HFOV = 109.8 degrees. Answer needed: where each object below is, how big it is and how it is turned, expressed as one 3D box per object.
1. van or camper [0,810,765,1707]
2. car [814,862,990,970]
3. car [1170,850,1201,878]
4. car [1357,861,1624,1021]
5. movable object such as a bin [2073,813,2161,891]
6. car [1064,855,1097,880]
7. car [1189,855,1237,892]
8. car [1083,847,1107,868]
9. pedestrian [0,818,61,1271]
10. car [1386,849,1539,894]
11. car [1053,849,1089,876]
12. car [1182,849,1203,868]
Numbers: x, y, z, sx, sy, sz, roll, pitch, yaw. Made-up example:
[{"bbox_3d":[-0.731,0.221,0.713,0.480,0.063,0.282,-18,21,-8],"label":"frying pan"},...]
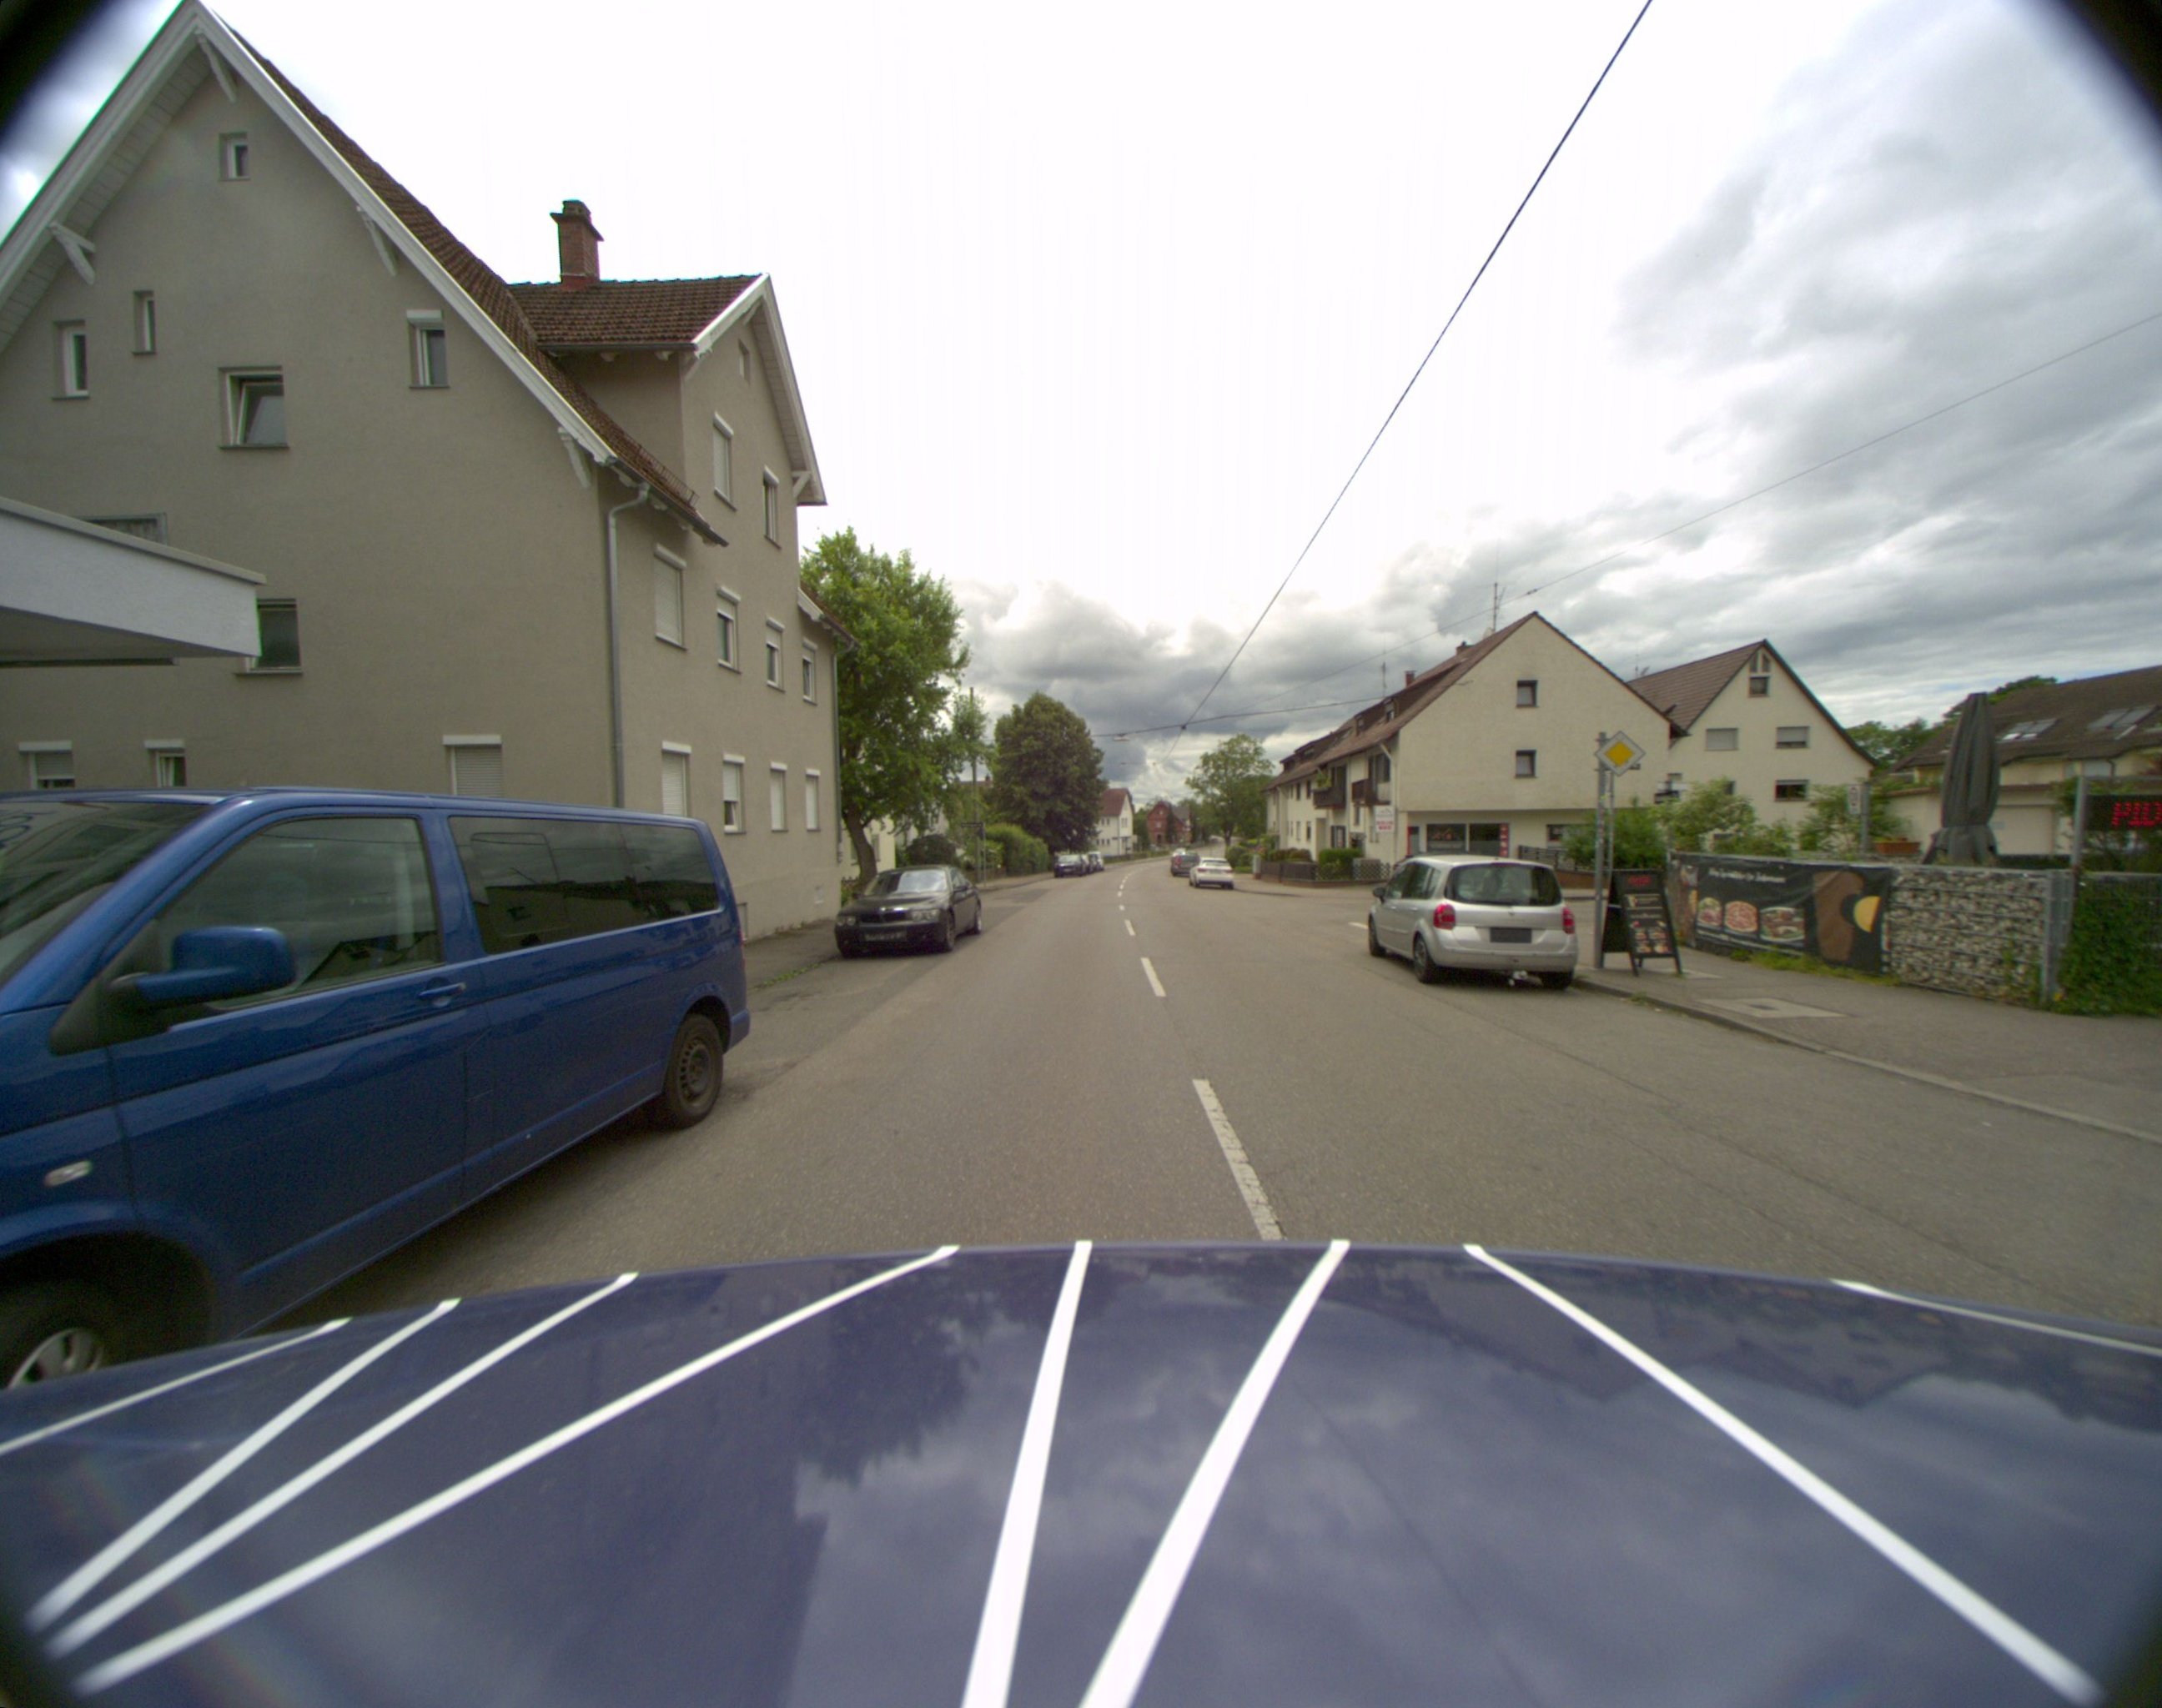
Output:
[{"bbox_3d":[-3.278,0.882,3.005,1.931,1.914,4.830,-2,0,1],"label":"van or camper"},{"bbox_3d":[-3.094,0.997,14.330,1.998,1.509,4.891,-2,1,1],"label":"car"},{"bbox_3d":[7.094,0.607,51.817,1.850,1.671,4.788,3,1,6],"label":"car"},{"bbox_3d":[5.167,0.959,10.274,1.837,1.569,4.033,2,1,8],"label":"car"},{"bbox_3d":[15.662,-0.035,11.302,0.571,1.103,0.977,-1,1,6],"label":"movable object such as a bin"},{"bbox_3d":[0.031,0.972,57.286,1.998,1.606,4.540,-2,1,6],"label":"car"},{"bbox_3d":[6.113,0.865,35.440,1.730,1.450,3.899,3,1,4],"label":"car"},{"bbox_3d":[1.298,0.331,69.529,1.842,1.763,4.318,-3,0,4],"label":"car"},{"bbox_3d":[-5.194,0.852,3.443,0.759,2.002,0.620,-1,1,36],"label":"pedestrian"},{"bbox_3d":[13.796,0.612,27.719,4.527,1.464,2.001,-2,0,6],"label":"car"},{"bbox_3d":[-0.611,0.562,51.086,1.814,1.606,4.540,-2,1,6],"label":"car"},{"bbox_3d":[11.189,0.435,76.075,1.852,1.704,4.578,1,1,11],"label":"car"}]
